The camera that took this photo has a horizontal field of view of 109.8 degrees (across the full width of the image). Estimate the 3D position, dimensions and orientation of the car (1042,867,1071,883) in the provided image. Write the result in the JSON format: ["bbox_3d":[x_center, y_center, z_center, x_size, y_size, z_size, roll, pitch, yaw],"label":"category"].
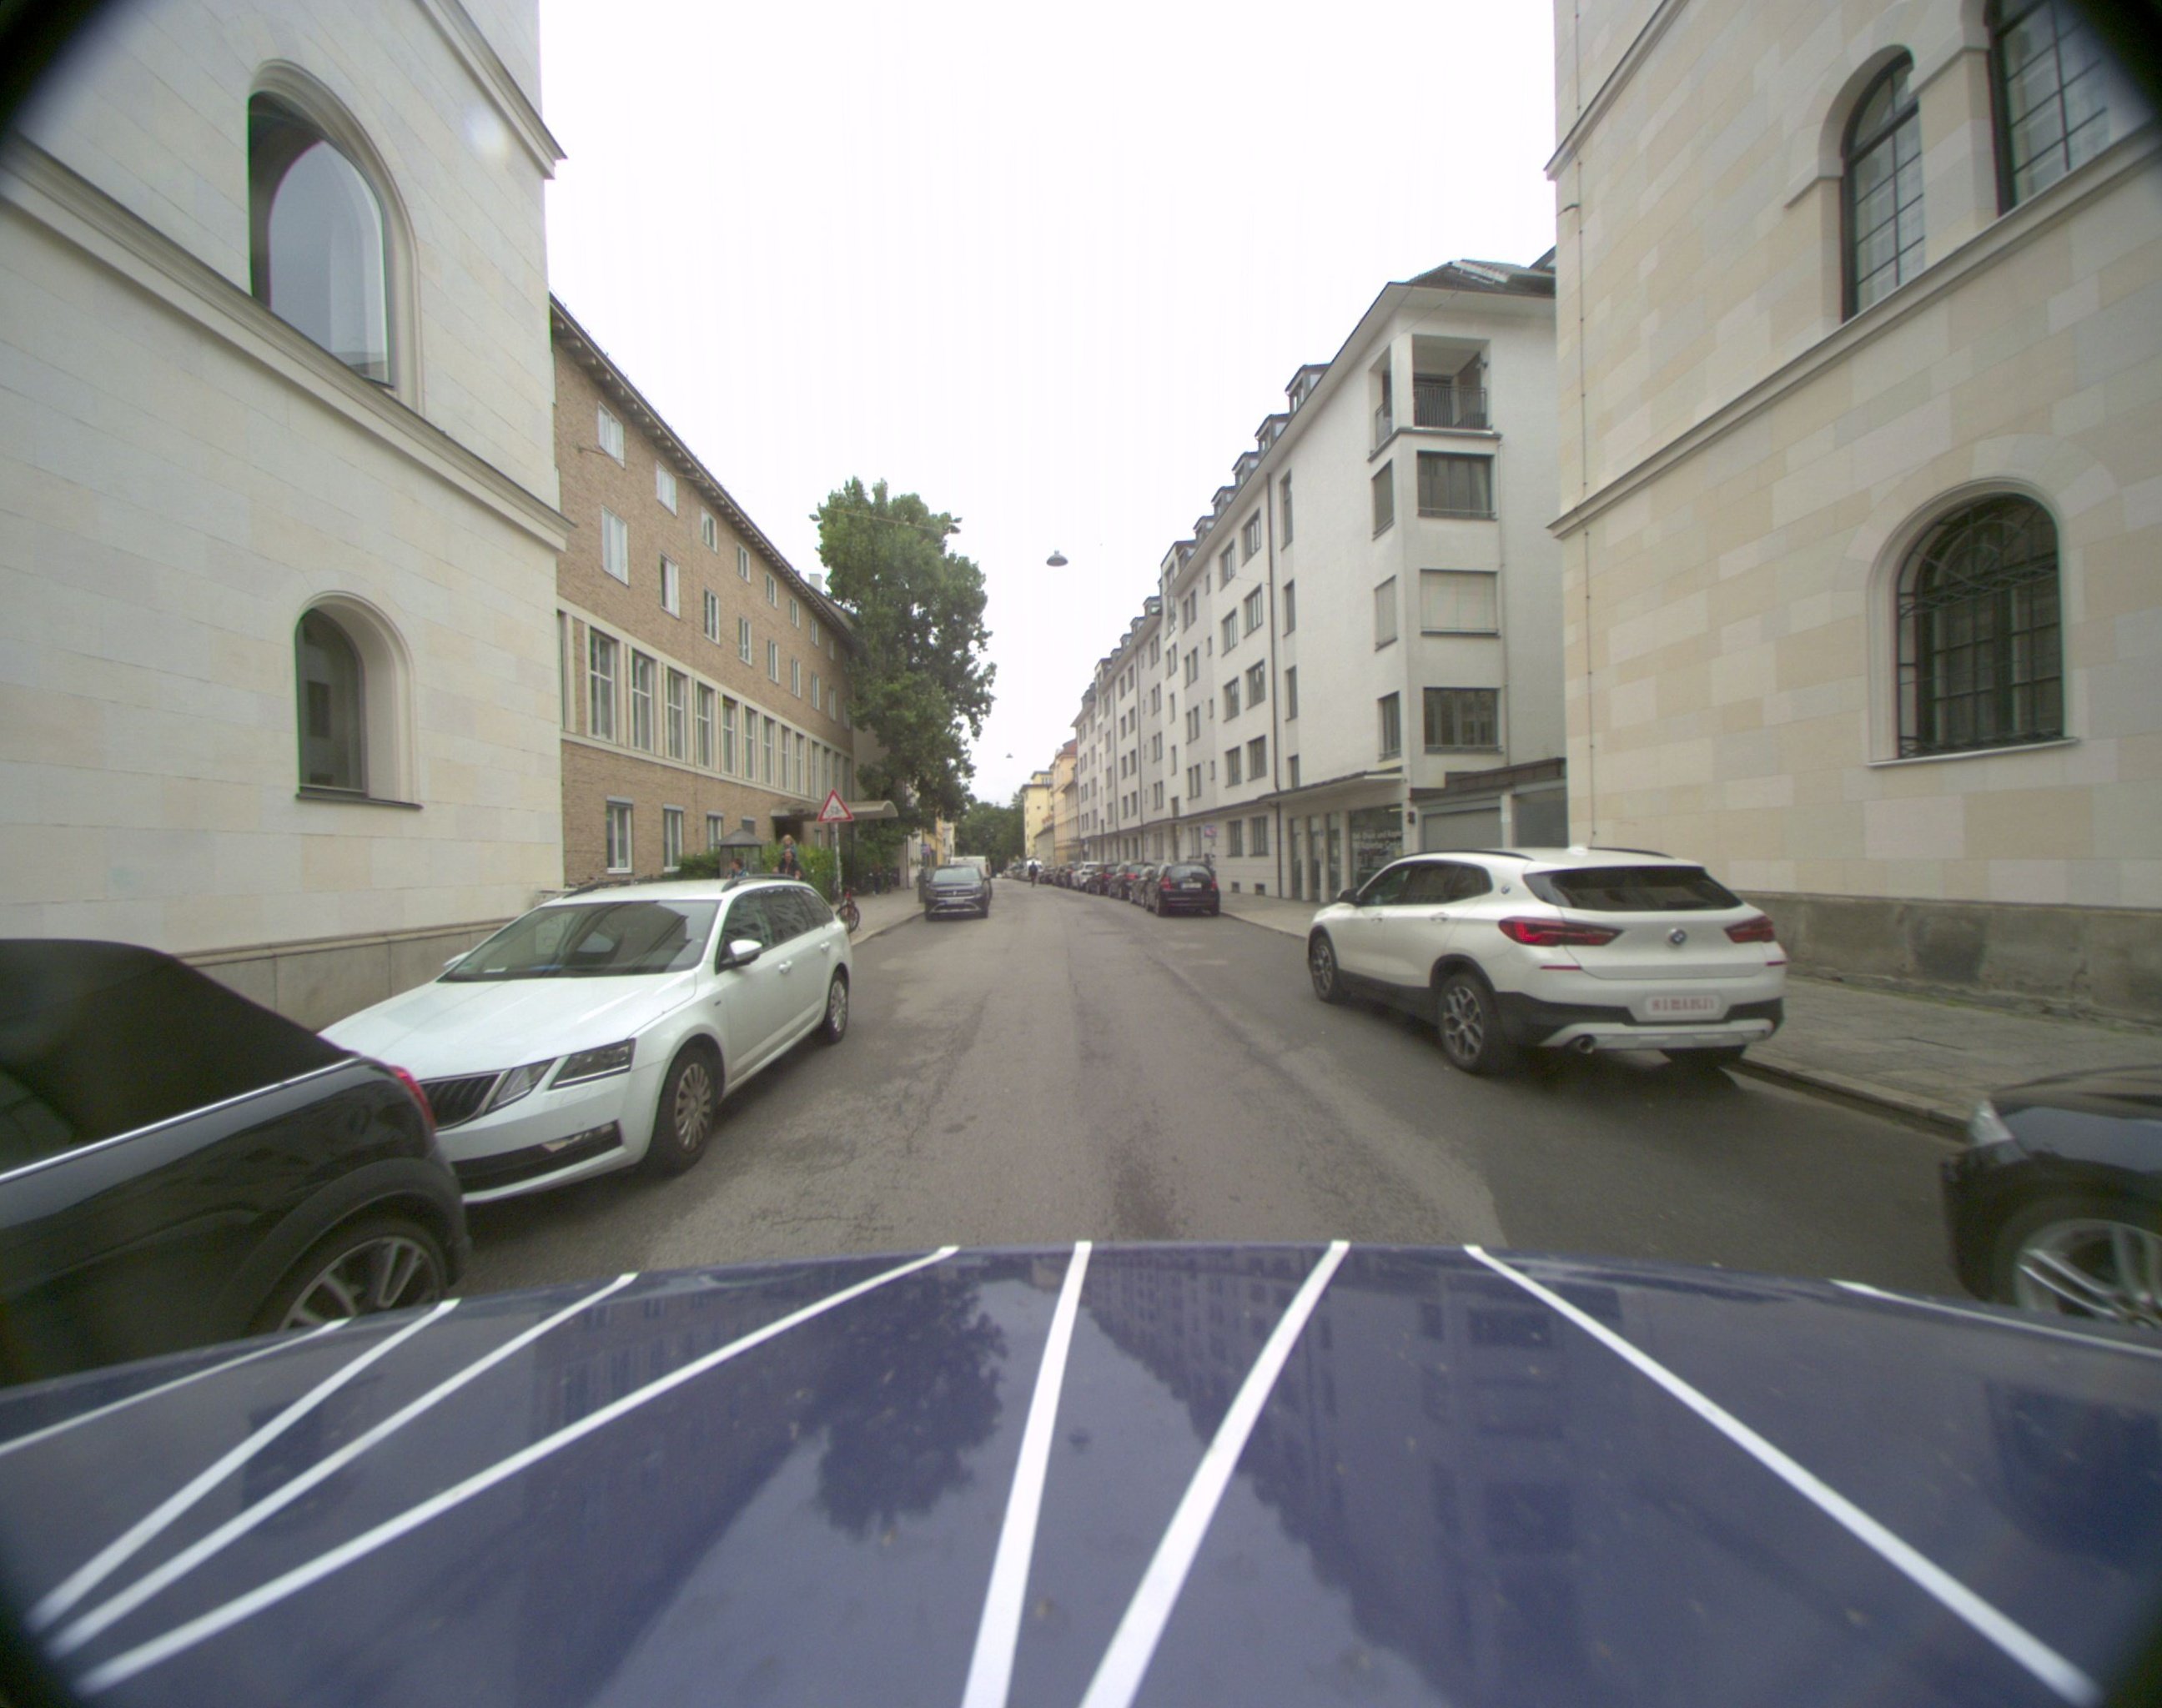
[{"bbox_3d":[-2.106,1.763,63.990,1.645,1.346,4.054,0,-1,-14],"label":"car"}]

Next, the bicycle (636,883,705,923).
[{"bbox_3d":[-11.239,1.334,20.811,1.635,1.035,0.348,0,0,-6],"label":"bicycle"}]

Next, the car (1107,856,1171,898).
[{"bbox_3d":[2.379,0.957,32.022,1.878,1.648,4.078,0,-1,-8],"label":"car"}]

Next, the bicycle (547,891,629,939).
[{"bbox_3d":[-11.119,1.375,17.150,1.634,1.035,0.348,-1,0,0],"label":"bicycle"}]

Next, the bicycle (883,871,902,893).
[{"bbox_3d":[-9.601,1.418,38.744,0.672,1.067,2.222,-1,-1,-7],"label":"bicycle"}]

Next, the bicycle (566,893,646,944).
[{"bbox_3d":[-10.015,1.357,16.051,1.433,1.035,0.348,0,0,-4],"label":"bicycle"}]

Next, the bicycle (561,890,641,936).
[{"bbox_3d":[-11.087,1.358,17.561,1.634,1.035,0.348,-1,0,0],"label":"bicycle"}]

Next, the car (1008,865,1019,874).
[{"bbox_3d":[-12.344,2.869,138.767,1.712,1.490,3.998,-1,-1,-8],"label":"car"}]

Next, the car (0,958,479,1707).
[{"bbox_3d":[-2.665,1.061,0.506,1.544,1.417,3.771,-2,0,-1],"label":"car"}]

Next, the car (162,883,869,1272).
[{"bbox_3d":[-2.946,1.008,5.325,1.794,1.467,4.313,-1,-1,-1],"label":"car"}]

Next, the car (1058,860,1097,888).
[{"bbox_3d":[-0.258,1.270,48.616,1.878,1.678,4.518,0,-1,-8],"label":"car"}]

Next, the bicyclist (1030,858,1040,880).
[{"bbox_3d":[-3.175,1.019,52.167,0.659,1.541,0.887,-1,0,-5],"label":"bicyclist"}]

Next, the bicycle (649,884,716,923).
[{"bbox_3d":[-11.193,1.386,21.373,1.635,1.035,0.348,0,0,-7],"label":"bicycle"}]

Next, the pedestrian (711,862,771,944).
[{"bbox_3d":[-7.229,1.026,16.189,0.860,1.683,0.752,-2,0,1],"label":"pedestrian"}]

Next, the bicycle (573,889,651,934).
[{"bbox_3d":[-11.213,1.374,18.186,1.634,1.035,0.348,-1,0,0],"label":"bicycle"}]

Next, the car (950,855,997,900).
[{"bbox_3d":[-4.944,1.054,35.514,1.888,1.913,4.872,-2,0,-5],"label":"car"}]

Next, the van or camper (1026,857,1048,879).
[{"bbox_3d":[-4.873,1.544,82.839,2.000,2.297,5.475,-1,-1,-7],"label":"van or camper"}]

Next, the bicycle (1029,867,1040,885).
[{"bbox_3d":[-3.201,1.518,52.182,0.650,1.190,1.949,-1,0,-5],"label":"bicycle"}]

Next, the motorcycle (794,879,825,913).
[{"bbox_3d":[-9.033,1.373,25.315,0.490,1.047,1.923,-2,-1,-6],"label":"motorcycle"}]

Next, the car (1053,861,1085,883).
[{"bbox_3d":[-0.896,1.283,53.945,1.779,1.530,4.157,0,-1,-8],"label":"car"}]

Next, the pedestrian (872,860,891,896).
[{"bbox_3d":[-9.272,1.126,35.333,0.589,1.623,0.877,-2,0,-2],"label":"pedestrian"}]

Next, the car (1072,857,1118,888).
[{"bbox_3d":[0.740,1.056,43.179,1.878,1.648,4.588,0,-1,-8],"label":"car"}]

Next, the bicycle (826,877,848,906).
[{"bbox_3d":[-9.332,1.423,29.149,0.423,1.047,1.487,-2,0,-4],"label":"bicycle"}]

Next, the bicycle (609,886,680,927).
[{"bbox_3d":[-11.289,1.361,19.660,1.634,1.035,0.348,-1,0,0],"label":"bicycle"}]

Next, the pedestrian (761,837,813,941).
[{"bbox_3d":[-6.296,0.738,16.298,0.795,2.185,0.813,0,0,0],"label":"pedestrian"}]

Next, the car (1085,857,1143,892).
[{"bbox_3d":[1.564,1.023,37.869,1.879,1.648,4.587,0,-1,-10],"label":"car"}]

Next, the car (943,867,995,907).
[{"bbox_3d":[-4.374,1.255,30.161,1.678,1.409,4.200,-2,0,-4],"label":"car"}]

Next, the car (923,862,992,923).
[{"bbox_3d":[-3.592,1.068,22.625,1.752,1.584,3.954,-2,0,-6],"label":"car"}]

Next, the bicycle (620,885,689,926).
[{"bbox_3d":[-11.290,1.363,20.135,1.634,1.035,0.348,-1,0,0],"label":"bicycle"}]

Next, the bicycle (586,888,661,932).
[{"bbox_3d":[-11.202,1.362,18.615,1.634,1.035,0.348,-1,0,0],"label":"bicycle"}]

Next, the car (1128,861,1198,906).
[{"bbox_3d":[2.778,0.998,26.661,1.755,1.444,4.014,0,-1,-4],"label":"car"}]

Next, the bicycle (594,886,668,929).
[{"bbox_3d":[-11.312,1.337,19.107,1.634,1.035,0.348,-1,0,0],"label":"bicycle"}]

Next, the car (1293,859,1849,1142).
[{"bbox_3d":[3.355,0.830,6.374,1.783,1.526,4.210,0,0,-3],"label":"car"}]

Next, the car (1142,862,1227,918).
[{"bbox_3d":[2.880,0.995,21.924,1.755,1.444,4.015,0,-1,-2],"label":"car"}]

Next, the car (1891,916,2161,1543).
[{"bbox_3d":[3.378,0.890,0.226,1.703,1.384,4.210,0,0,-2],"label":"car"}]

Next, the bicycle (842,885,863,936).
[{"bbox_3d":[-5.097,1.240,17.015,0.348,1.035,1.633,1,0,-14],"label":"bicycle"}]
